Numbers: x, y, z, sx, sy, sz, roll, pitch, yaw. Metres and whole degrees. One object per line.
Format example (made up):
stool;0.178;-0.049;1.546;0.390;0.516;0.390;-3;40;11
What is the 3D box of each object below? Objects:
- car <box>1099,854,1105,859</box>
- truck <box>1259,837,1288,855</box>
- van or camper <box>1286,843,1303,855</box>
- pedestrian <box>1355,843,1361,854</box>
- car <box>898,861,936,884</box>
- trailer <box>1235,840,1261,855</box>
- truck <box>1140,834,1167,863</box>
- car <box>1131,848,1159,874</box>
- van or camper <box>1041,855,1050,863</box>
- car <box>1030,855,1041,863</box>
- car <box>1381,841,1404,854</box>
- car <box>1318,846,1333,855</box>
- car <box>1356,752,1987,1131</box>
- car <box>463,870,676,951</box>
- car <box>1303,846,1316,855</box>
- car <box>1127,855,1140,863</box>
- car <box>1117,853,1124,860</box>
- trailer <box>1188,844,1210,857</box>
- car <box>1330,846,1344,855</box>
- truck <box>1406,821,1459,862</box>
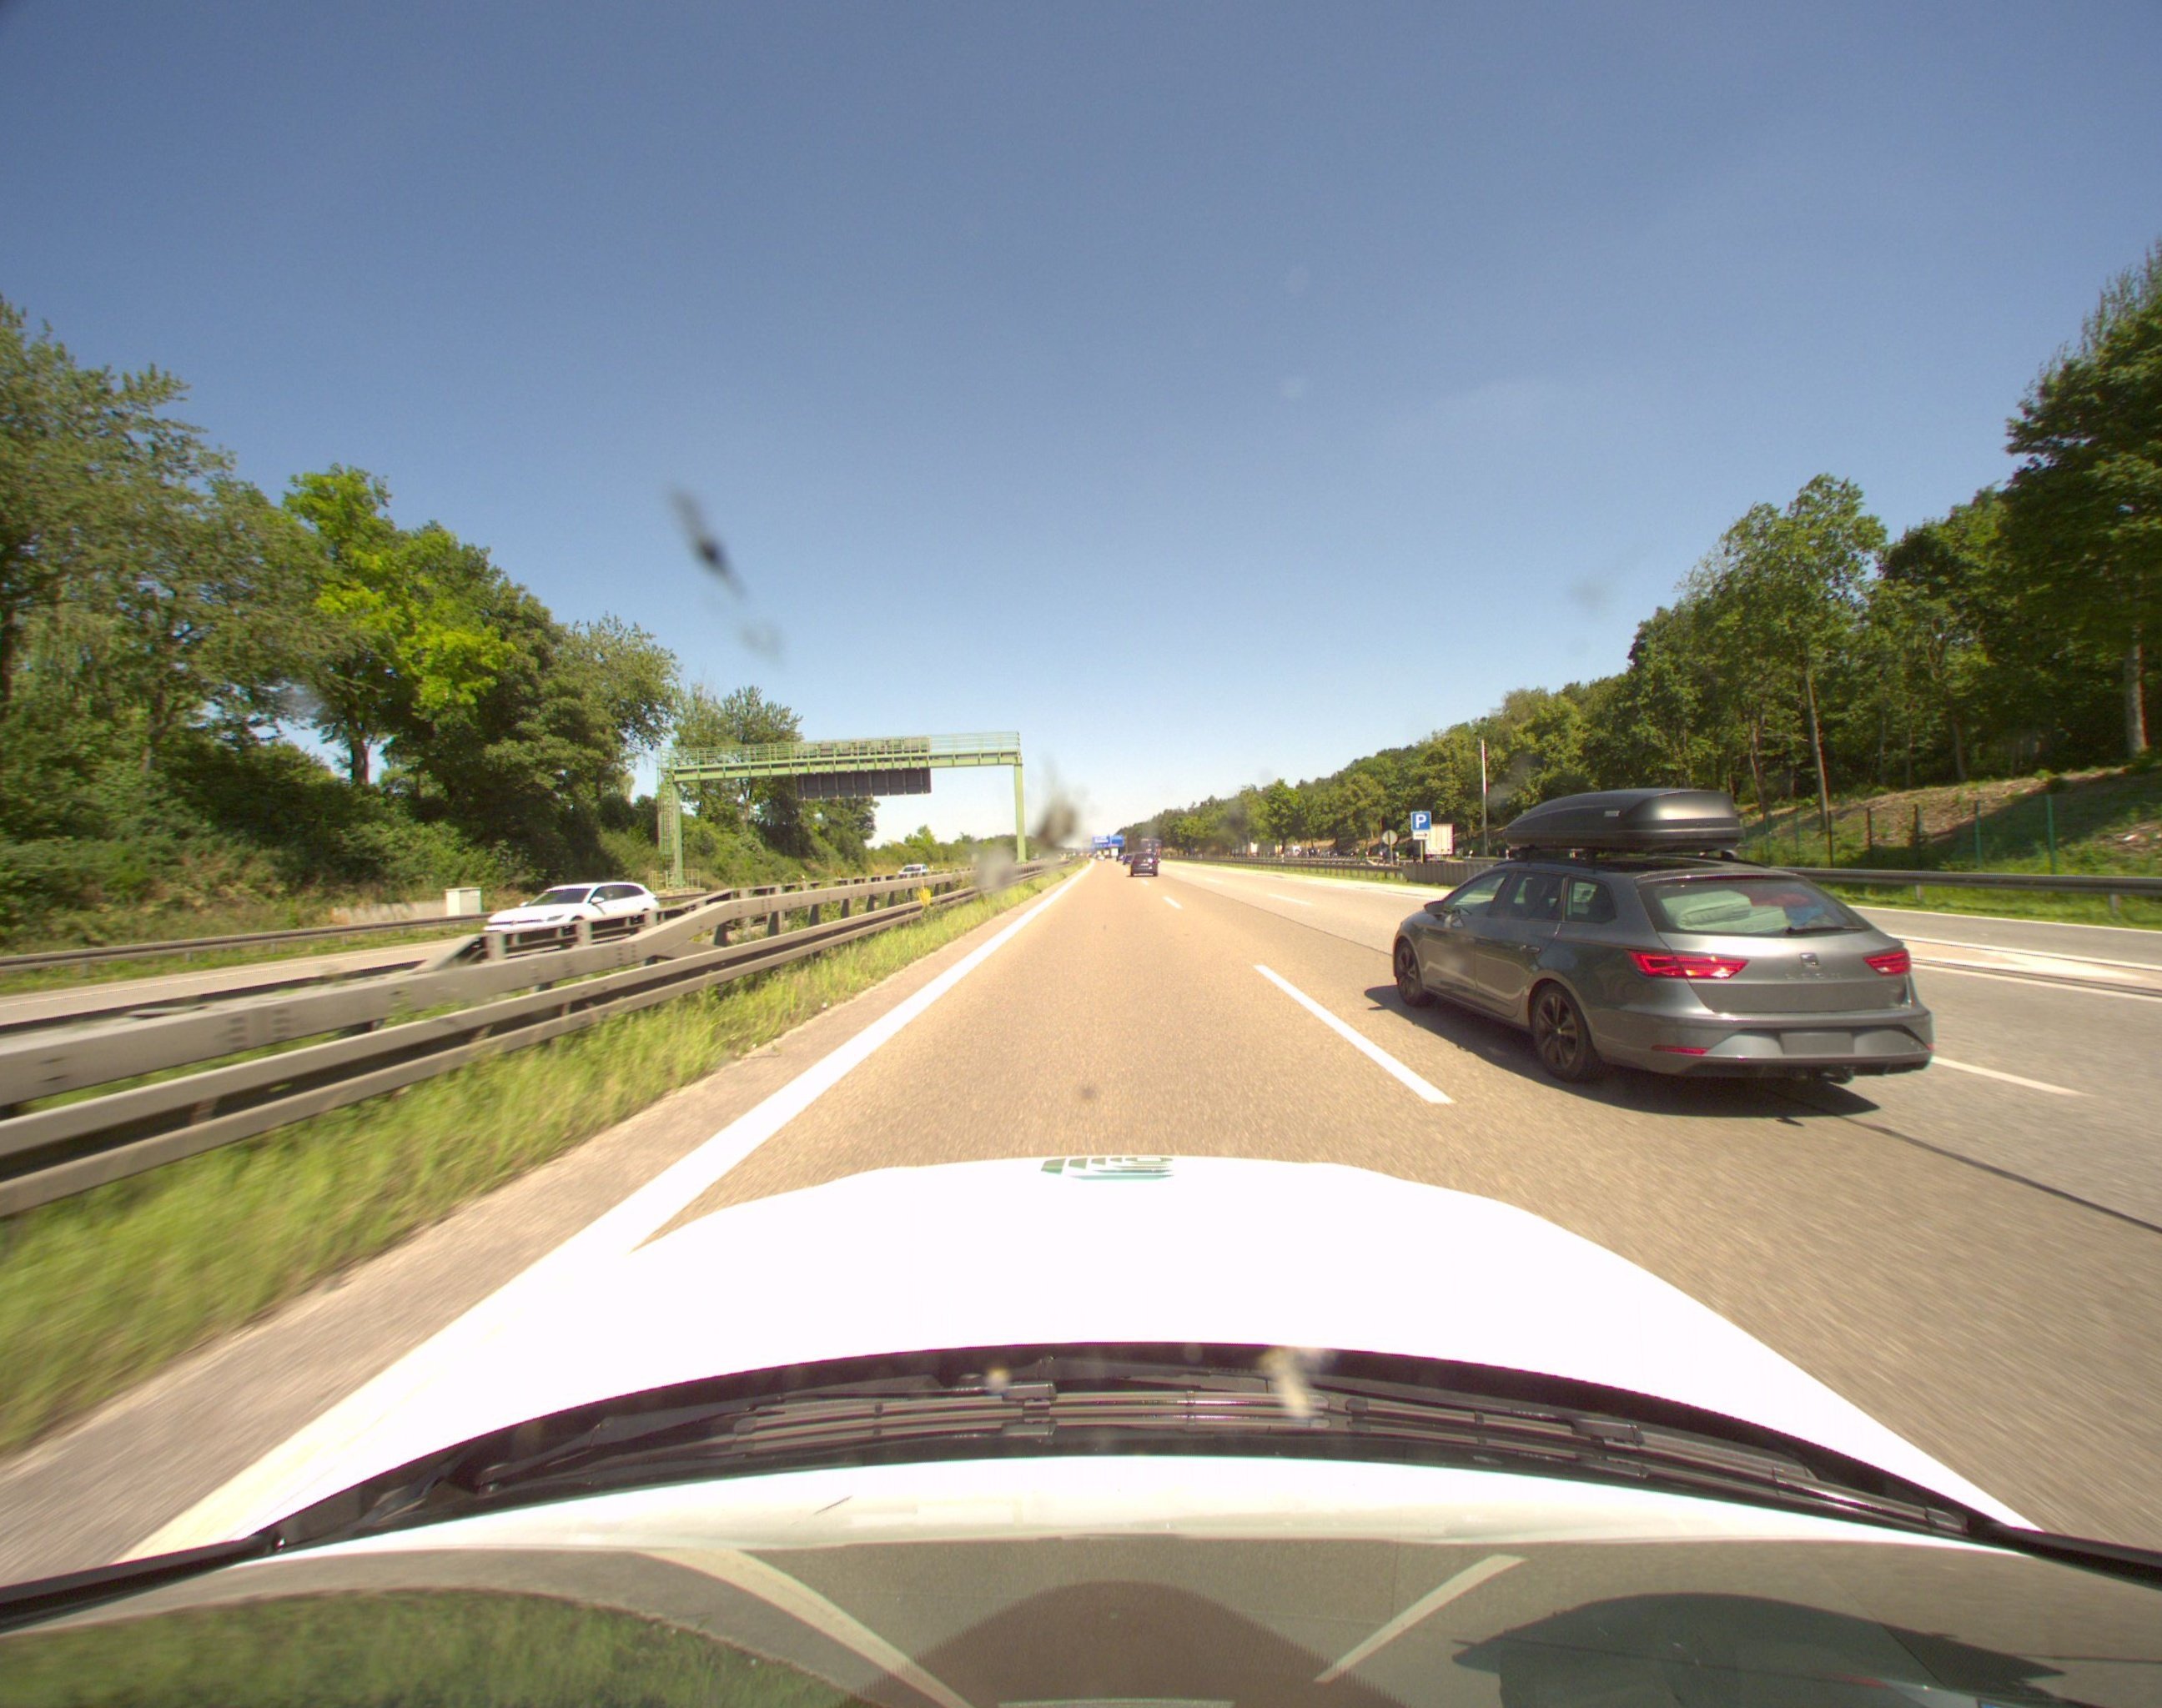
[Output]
car;5.377;0.556;205.906;1.465;1.227;3.411;-2;0;2
truck;46.496;-1.850;197.341;2.989;3.931;14.443;-1;0;-3
van or camper;46.208;-1.086;176.331;2.195;2.530;5.877;-2;0;2
pedestrian;45.763;-0.973;134.420;0.792;1.782;0.645;-2;0;14
car;-11.415;1.271;57.032;1.659;1.464;3.884;-4;0;2
trailer;44.639;-1.772;218.173;2.854;3.796;14.160;-1;0;-6
truck;12.102;-0.885;137.289;3.766;4.422;14.056;-1;0;2
car;4.338;0.445;55.016;1.791;1.669;4.263;-1;0;4
van or camper;-11.058;1.494;253.635;1.986;2.392;6.243;-3;0;1
car;-11.400;1.345;203.025;1.985;1.835;5.337;-4;0;3
car;41.588;-0.870;108.847;1.981;1.651;4.331;-2;0;10
car;46.138;-0.650;153.643;1.649;1.675;4.655;-2;0;3
car;3.855;0.442;6.616;1.659;1.876;4.829;-3;0;1
car;-12.744;1.314;20.852;1.871;1.610;5.312;-4;0;2
car;45.874;-0.667;163.427;1.648;1.877;4.808;-2;0;6
car;7.459;0.731;116.825;1.702;1.155;3.690;-2;0;2
car;8.435;0.500;175.517;1.465;1.398;3.411;1;0;2
trailer;38.019;-1.034;262.959;2.573;3.915;12.696;-1;0;-12
car;46.230;-0.615;147.191;1.981;1.574;4.011;-2;0;10
truck;36.650;-1.303;85.348;3.263;3.947;9.383;-2;0;13
